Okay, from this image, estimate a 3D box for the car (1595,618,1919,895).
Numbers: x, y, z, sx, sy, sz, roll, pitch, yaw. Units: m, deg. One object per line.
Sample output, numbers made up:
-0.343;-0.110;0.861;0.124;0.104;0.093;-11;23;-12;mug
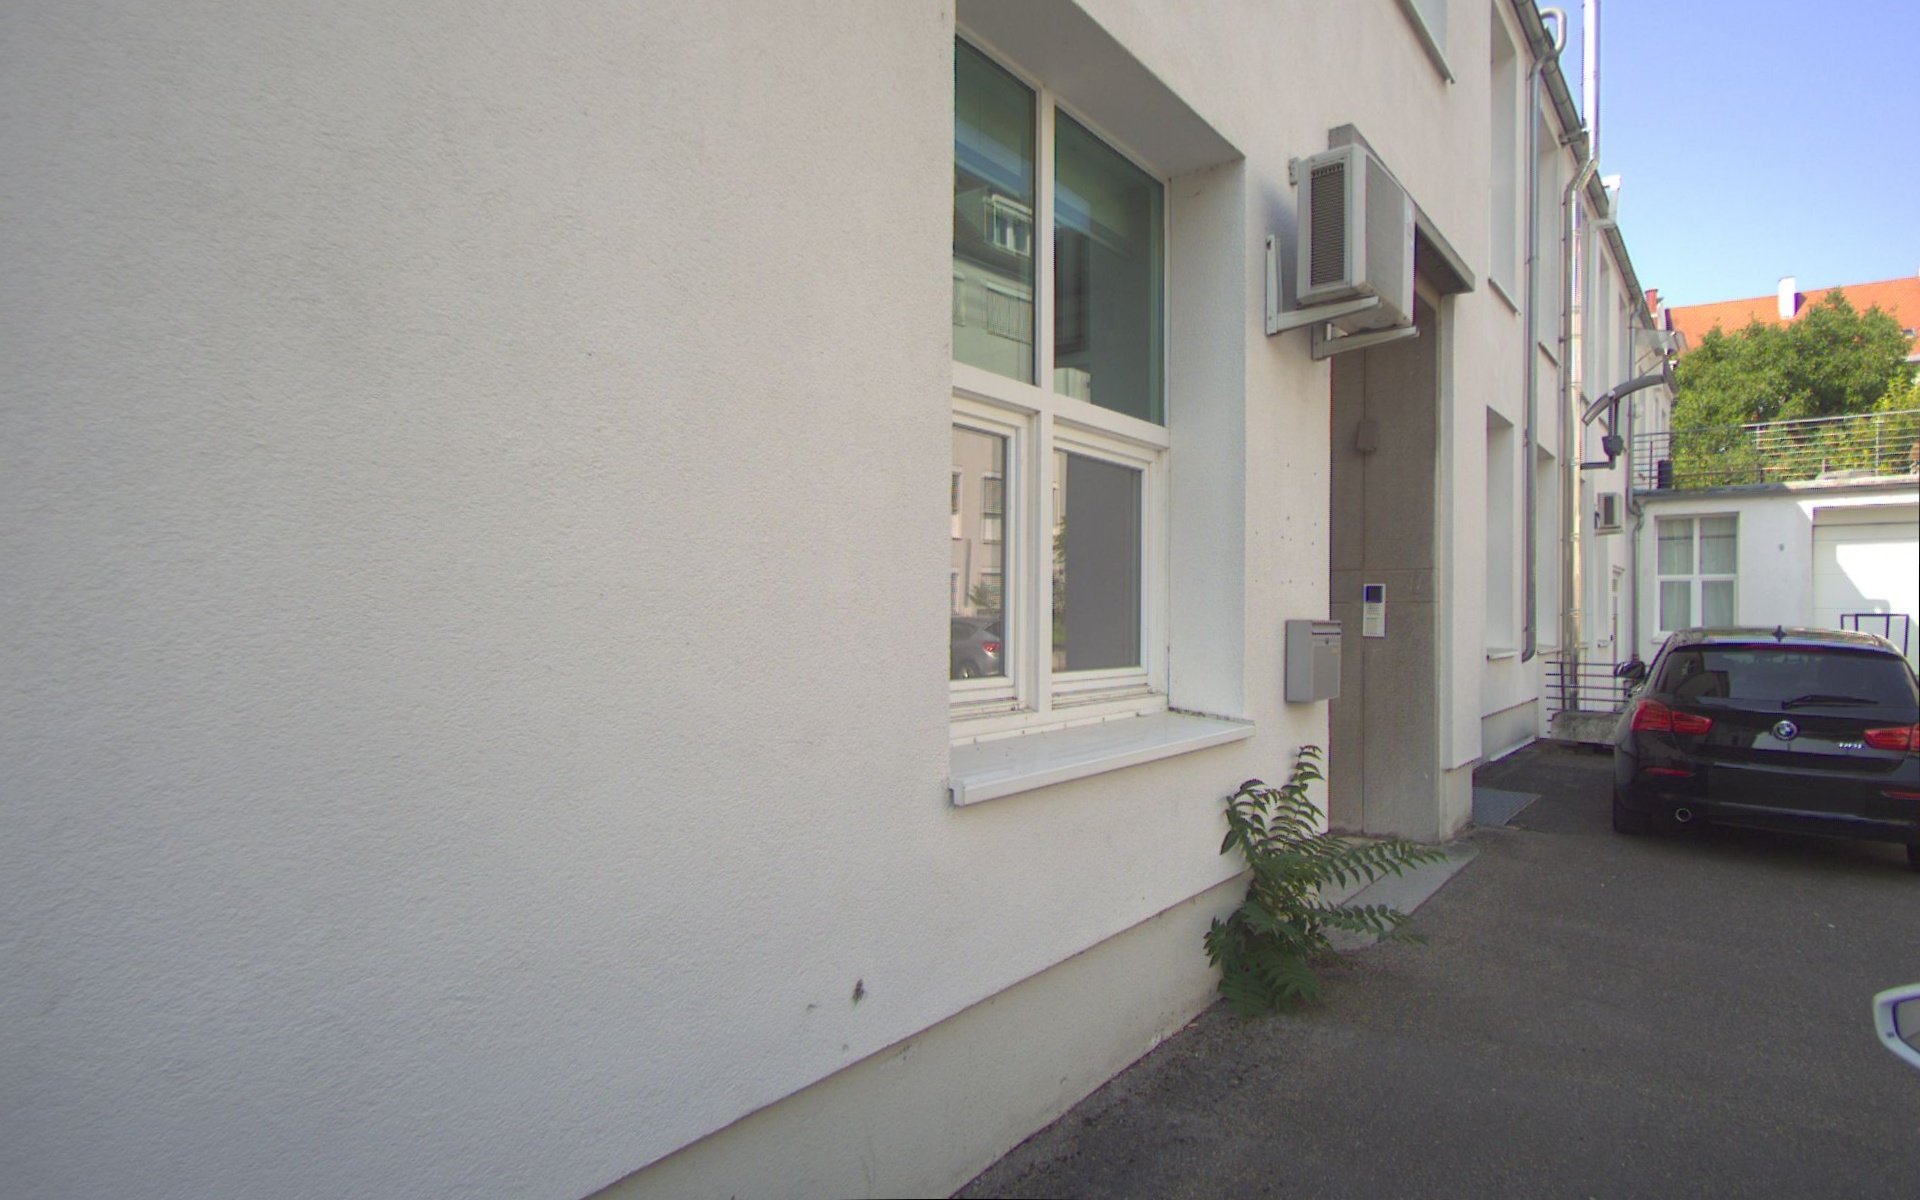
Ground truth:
5.922;0.884;7.455;1.769;1.447;4.121;1;0;36;car
